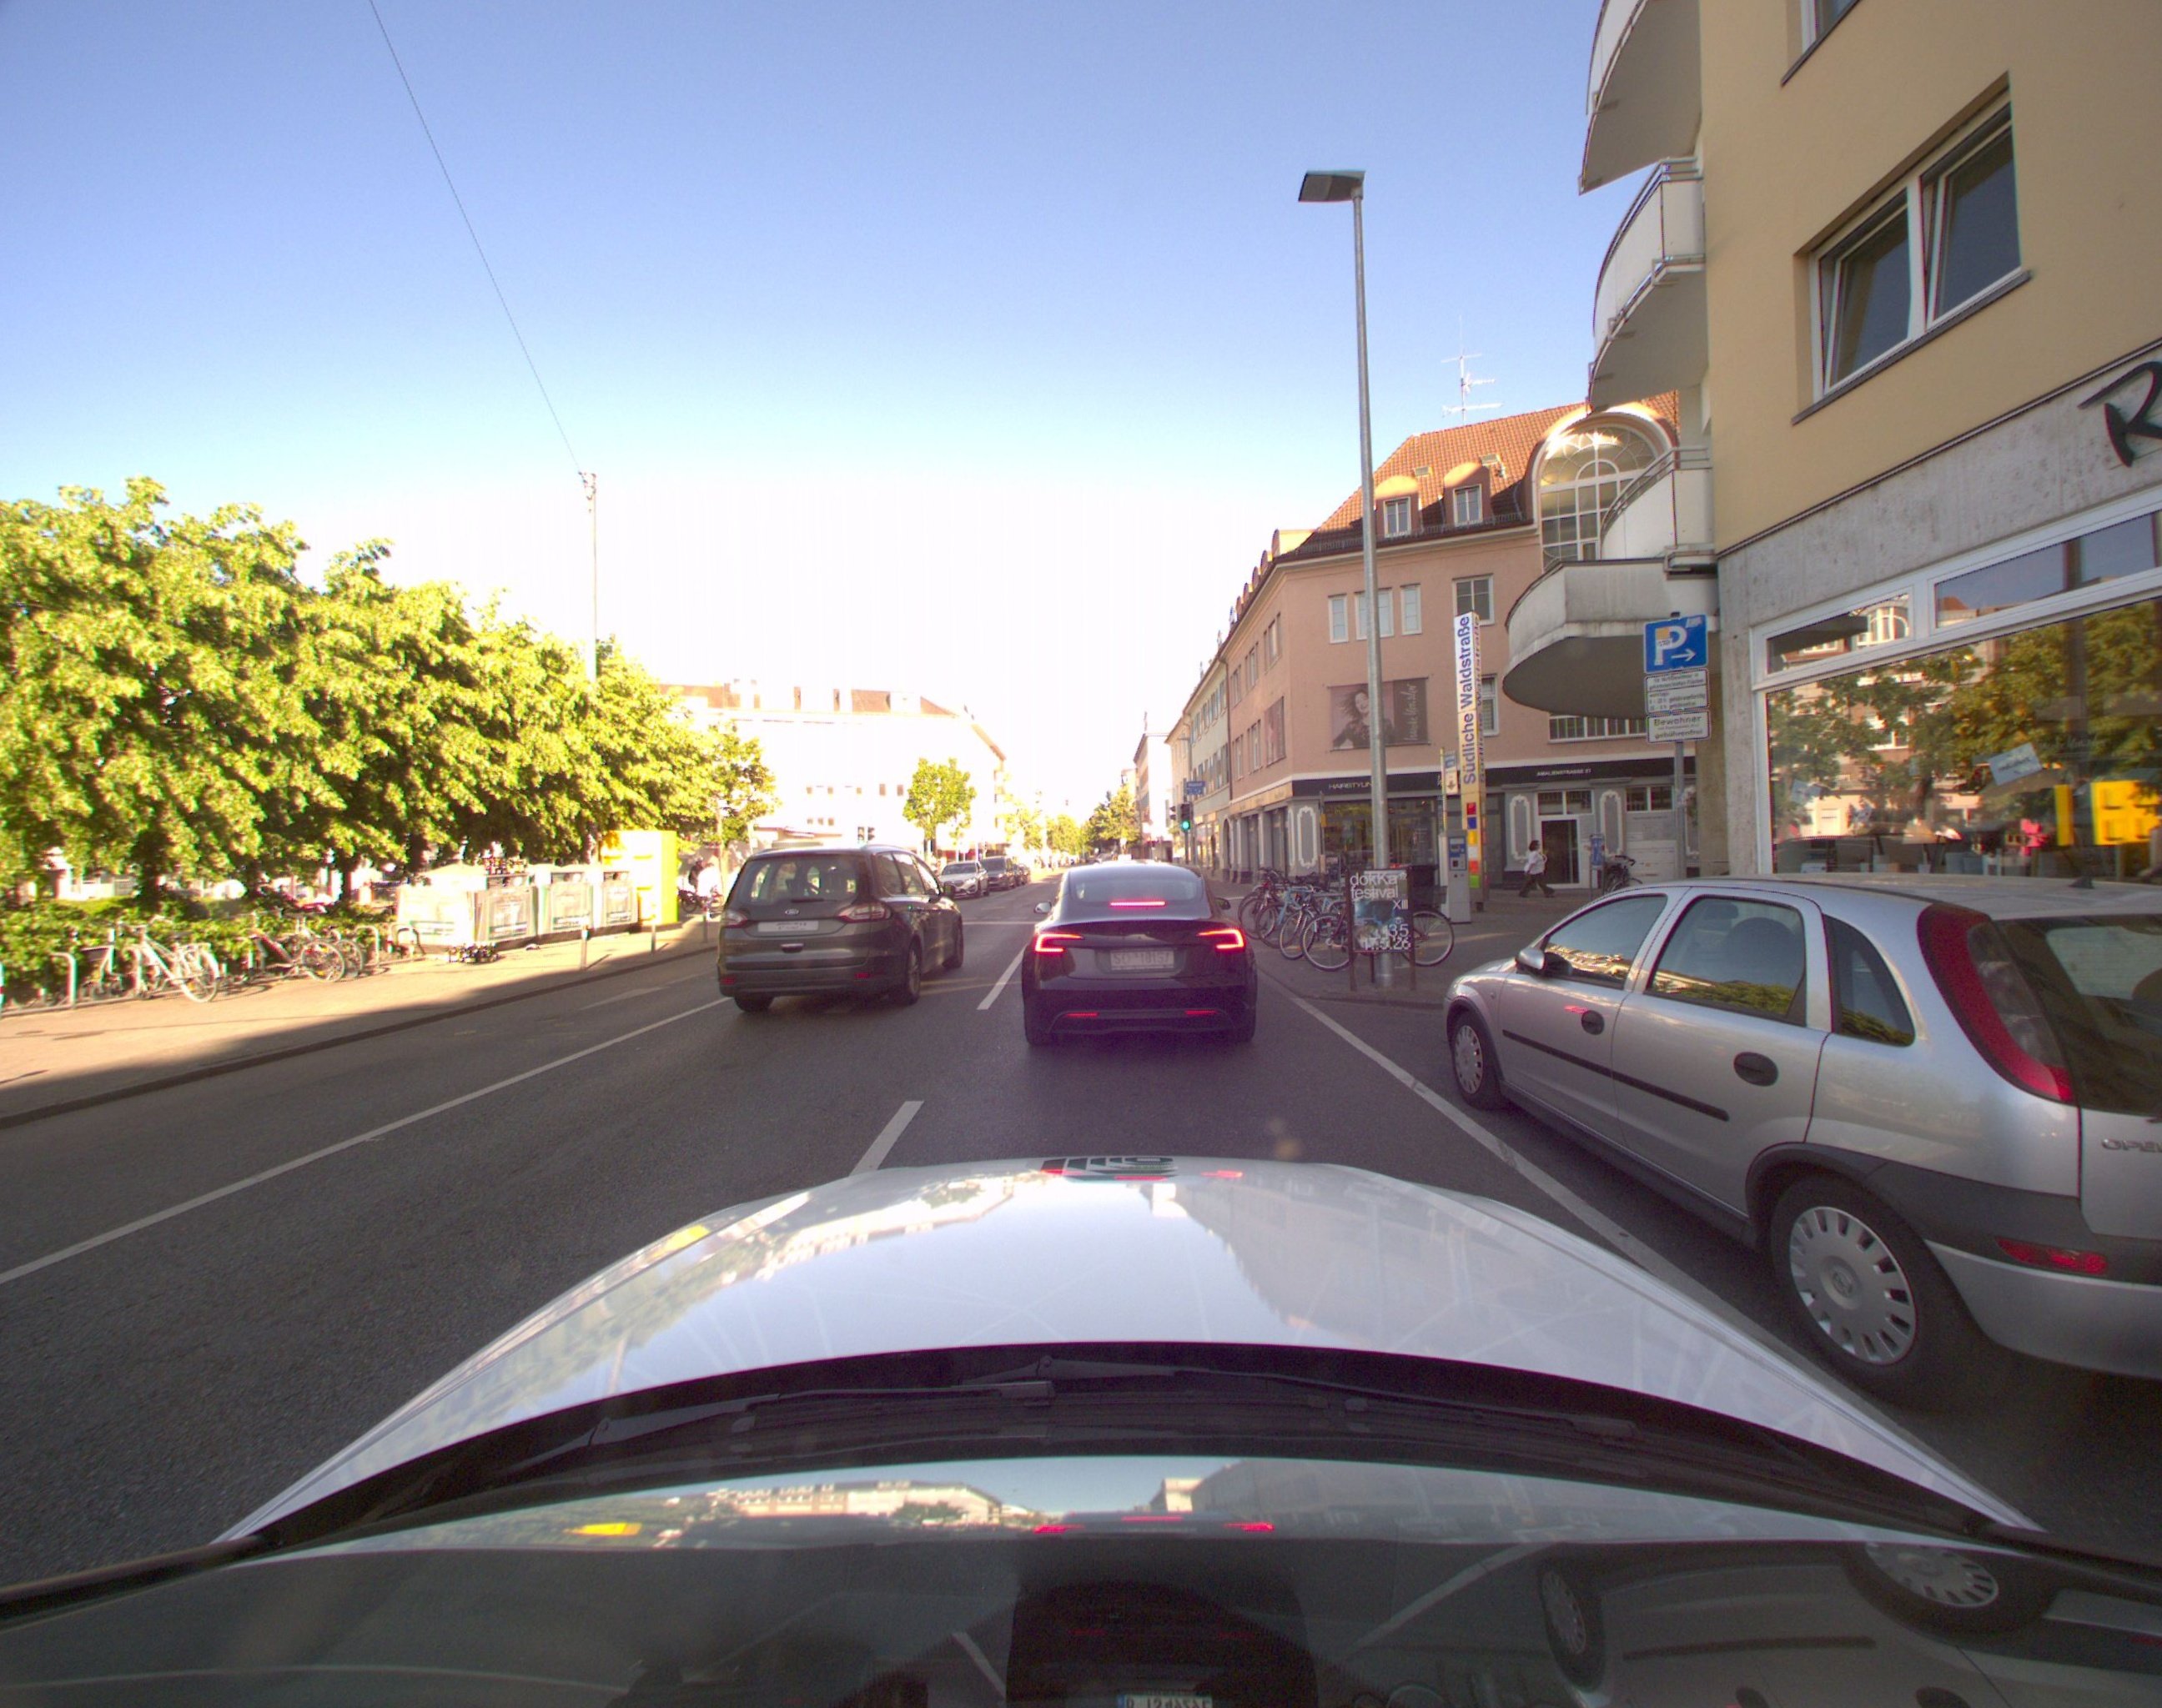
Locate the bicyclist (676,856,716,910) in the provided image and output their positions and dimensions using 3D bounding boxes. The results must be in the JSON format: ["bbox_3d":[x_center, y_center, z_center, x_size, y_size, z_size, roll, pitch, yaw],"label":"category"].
[{"bbox_3d":[-13.361,1.005,28.274,0.941,1.838,0.793,-1,0,24],"label":"bicyclist"}]

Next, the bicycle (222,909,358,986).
[{"bbox_3d":[-11.317,1.335,11.668,1.561,1.023,0.430,-1,0,3],"label":"bicycle"}]

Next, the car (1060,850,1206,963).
[{"bbox_3d":[0.742,0.724,13.311,1.987,1.512,4.175,-1,0,0],"label":"car"}]

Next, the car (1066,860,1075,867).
[{"bbox_3d":[-2.479,2.168,187.368,1.988,1.637,3.998,-1,0,-1],"label":"car"}]

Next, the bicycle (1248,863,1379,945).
[{"bbox_3d":[3.524,0.754,12.503,1.788,1.124,0.783,-3,-1,7],"label":"bicycle"}]

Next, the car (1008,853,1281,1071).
[{"bbox_3d":[0.500,0.758,7.603,1.841,1.455,4.001,-2,0,2],"label":"car"}]

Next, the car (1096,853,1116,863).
[{"bbox_3d":[5.126,0.854,167.672,3.974,2.013,2.000,-1,0,0],"label":"car"}]

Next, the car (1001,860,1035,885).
[{"bbox_3d":[-4.390,1.260,57.275,1.988,1.436,4.672,-5,0,-1],"label":"car"}]

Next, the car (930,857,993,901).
[{"bbox_3d":[-4.956,0.991,34.338,1.800,1.555,4.311,-5,0,1],"label":"car"}]

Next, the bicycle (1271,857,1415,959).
[{"bbox_3d":[3.543,0.726,11.150,1.713,1.268,0.792,-3,-1,7],"label":"bicycle"}]

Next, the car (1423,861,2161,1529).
[{"bbox_3d":[2.976,0.732,3.521,1.607,1.382,3.645,0,0,2],"label":"car"}]

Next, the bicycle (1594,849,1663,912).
[{"bbox_3d":[11.116,0.499,16.600,0.653,1.199,2.223,-2,0,21],"label":"bicycle"}]

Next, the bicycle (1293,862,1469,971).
[{"bbox_3d":[3.640,0.752,10.015,1.876,1.193,0.693,-3,0,7],"label":"bicycle"}]

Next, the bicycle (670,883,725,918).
[{"bbox_3d":[-13.378,1.619,28.409,2.042,1.139,0.541,0,0,25],"label":"bicycle"}]

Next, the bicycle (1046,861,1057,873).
[{"bbox_3d":[-3.474,1.546,95.786,1.108,1.344,3.998,-1,0,-1],"label":"bicycle"}]

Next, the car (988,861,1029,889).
[{"bbox_3d":[-4.360,1.235,49.678,1.988,1.410,4.672,-5,0,-1],"label":"car"}]

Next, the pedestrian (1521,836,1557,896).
[{"bbox_3d":[12.106,0.305,21.557,0.740,1.552,0.703,-1,0,25],"label":"pedestrian"}]

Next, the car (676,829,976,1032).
[{"bbox_3d":[-2.622,0.700,9.761,1.987,1.772,4.728,-2,0,1],"label":"car"}]

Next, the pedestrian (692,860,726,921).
[{"bbox_3d":[-10.802,1.043,23.662,0.541,1.728,0.679,-2,-1,34],"label":"pedestrian"}]

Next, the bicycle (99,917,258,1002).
[{"bbox_3d":[-11.453,1.331,10.348,1.590,1.018,0.430,-1,0,3],"label":"bicycle"}]

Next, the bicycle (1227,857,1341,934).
[{"bbox_3d":[3.624,0.740,14.711,1.851,1.258,0.834,-3,-1,7],"label":"bicycle"}]

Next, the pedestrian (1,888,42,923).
[{"bbox_3d":[-63.954,3.070,49.152,1.269,2.014,1.284,-1,-1,28],"label":"pedestrian"}]

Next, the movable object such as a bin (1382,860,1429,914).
[{"bbox_3d":[6.754,0.677,16.978,0.730,1.092,0.628,0,-1,3],"label":"movable object such as a bin"}]

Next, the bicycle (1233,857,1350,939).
[{"bbox_3d":[3.509,0.721,13.683,1.738,1.267,0.782,-3,-1,4],"label":"bicycle"}]

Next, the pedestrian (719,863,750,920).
[{"bbox_3d":[-10.324,1.109,24.256,0.676,1.662,0.624,-2,-1,44],"label":"pedestrian"}]

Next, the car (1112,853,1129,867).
[{"bbox_3d":[4.895,0.772,100.842,1.986,1.629,4.002,-2,0,2],"label":"car"}]

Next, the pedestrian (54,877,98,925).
[{"bbox_3d":[-43.807,2.027,35.493,1.170,2.013,0.936,-1,0,26],"label":"pedestrian"}]

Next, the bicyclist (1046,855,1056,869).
[{"bbox_3d":[-3.501,0.931,95.882,1.123,1.628,0.965,-1,0,-1],"label":"bicyclist"}]

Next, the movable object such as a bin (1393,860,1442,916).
[{"bbox_3d":[6.745,0.672,16.340,0.749,1.092,0.628,0,-1,3],"label":"movable object such as a bin"}]

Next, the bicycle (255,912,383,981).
[{"bbox_3d":[-11.383,1.372,12.175,1.517,0.958,0.431,-1,1,3],"label":"bicycle"}]

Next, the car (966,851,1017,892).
[{"bbox_3d":[-4.636,0.868,42.859,1.827,1.845,4.677,-5,0,2],"label":"car"}]
